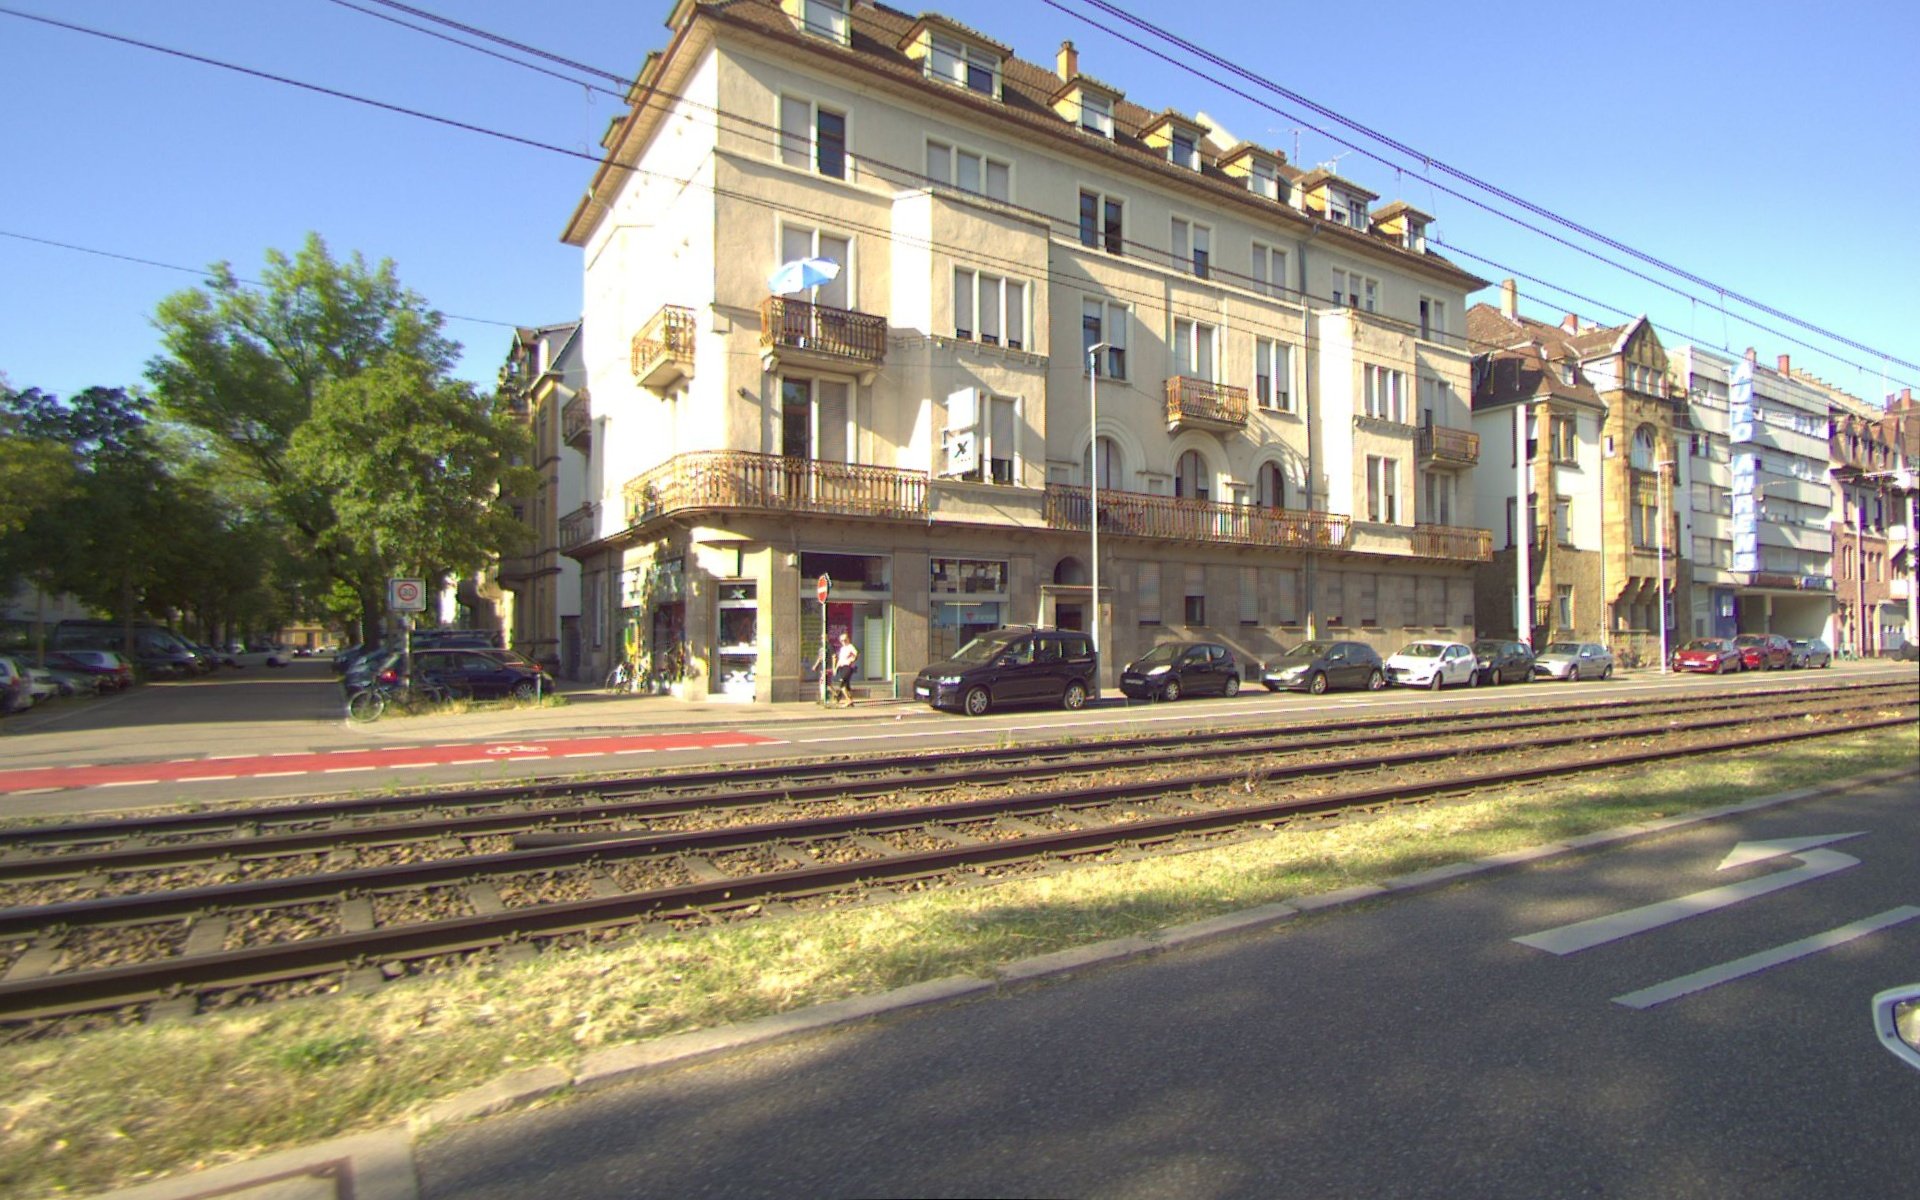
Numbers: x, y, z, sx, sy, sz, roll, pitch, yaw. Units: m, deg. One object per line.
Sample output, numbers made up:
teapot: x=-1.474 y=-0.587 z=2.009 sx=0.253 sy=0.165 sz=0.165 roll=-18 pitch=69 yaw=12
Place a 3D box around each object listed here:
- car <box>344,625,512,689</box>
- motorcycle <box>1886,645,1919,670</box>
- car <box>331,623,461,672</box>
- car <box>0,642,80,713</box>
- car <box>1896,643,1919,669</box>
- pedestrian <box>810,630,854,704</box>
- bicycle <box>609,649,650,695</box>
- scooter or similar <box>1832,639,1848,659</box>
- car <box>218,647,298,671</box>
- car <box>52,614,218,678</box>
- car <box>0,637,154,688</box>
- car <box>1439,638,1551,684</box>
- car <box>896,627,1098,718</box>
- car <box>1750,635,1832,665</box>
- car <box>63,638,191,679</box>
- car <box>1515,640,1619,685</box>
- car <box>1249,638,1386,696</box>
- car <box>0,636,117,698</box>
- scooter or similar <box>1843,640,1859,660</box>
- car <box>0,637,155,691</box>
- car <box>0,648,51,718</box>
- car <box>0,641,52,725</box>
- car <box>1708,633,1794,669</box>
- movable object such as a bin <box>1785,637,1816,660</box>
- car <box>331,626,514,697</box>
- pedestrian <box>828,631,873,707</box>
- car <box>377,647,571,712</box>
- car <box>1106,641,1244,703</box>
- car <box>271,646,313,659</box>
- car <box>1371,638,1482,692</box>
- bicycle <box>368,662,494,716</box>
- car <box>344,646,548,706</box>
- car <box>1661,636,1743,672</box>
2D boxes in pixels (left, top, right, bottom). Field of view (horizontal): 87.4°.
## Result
car: x=-18.225 y=1.986 z=34.478 sx=4.848 sy=2.067 sz=2.045 roll=3 pitch=-4 yaw=-35
motorcycle: x=56.759 y=3.446 z=60.017 sx=2.045 sy=1.345 sz=0.836 roll=2 pitch=1 yaw=43
car: x=-25.191 y=2.167 z=44.941 sx=4.848 sy=2.067 sz=2.045 roll=3 pitch=-4 yaw=-35
car: x=-24.098 y=1.854 z=24.274 sx=3.958 sy=1.679 sz=1.784 roll=3 pitch=-4 yaw=-33
car: x=59.307 y=3.446 z=61.625 sx=4.222 sy=1.479 sz=1.783 roll=1 pitch=1 yaw=-34
pedestrian: x=-3.053 y=1.588 z=23.905 sx=0.848 sy=1.719 sz=0.586 roll=2 pitch=-1 yaw=-31
bicycle: x=-9.087 y=1.938 z=27.545 sx=0.742 sy=1.176 sz=2.873 roll=1 pitch=-3 yaw=-25
scooter or similar: x=54.483 y=3.054 z=62.202 sx=1.187 sy=1.221 sz=0.389 roll=1 pitch=0 yaw=-32
car: x=-46.604 y=3.955 z=66.765 sx=3.939 sy=1.530 sz=1.793 roll=2 pitch=-4 yaw=-20
car: x=-37.030 y=2.132 z=45.344 sx=5.545 sy=2.719 sz=2.256 roll=3 pitch=-4 yaw=-36
car: x=-30.747 y=2.171 z=34.942 sx=3.958 sy=1.679 sz=1.784 roll=3 pitch=-4 yaw=-33
car: x=18.286 y=2.058 z=34.302 sx=4.115 sy=1.488 sz=1.626 roll=2 pitch=-2 yaw=-34
car: x=0.887 y=1.559 z=22.868 sx=4.355 sy=1.810 sz=1.851 roll=1 pitch=0 yaw=-34
car: x=40.854 y=2.435 z=49.344 sx=4.632 sy=1.409 sz=1.823 roll=1 pitch=-2 yaw=-34
car: x=-35.613 y=2.541 z=43.068 sx=3.958 sy=1.679 sz=1.784 roll=3 pitch=-4 yaw=-33
car: x=22.439 y=2.258 z=37.096 sx=4.113 sy=1.488 sz=1.626 roll=1 pitch=-1 yaw=-33
car: x=10.484 y=1.912 z=29.396 sx=4.115 sy=1.488 sz=1.625 roll=1 pitch=1 yaw=-34
car: x=-26.431 y=1.883 z=28.201 sx=3.958 sy=1.679 sz=1.784 roll=3 pitch=-4 yaw=-33
scooter or similar: x=54.717 y=3.060 z=61.685 sx=1.187 sy=1.221 sz=0.389 roll=1 pitch=0 yaw=-32
car: x=-29.184 y=2.121 z=33.047 sx=3.958 sy=1.679 sz=1.784 roll=3 pitch=-4 yaw=-33
car: x=-22.769 y=1.802 z=21.981 sx=3.958 sy=1.530 sz=1.784 roll=3 pitch=-4 yaw=-33
car: x=-20.971 y=1.630 z=19.827 sx=4.217 sy=1.662 sz=1.784 roll=3 pitch=-4 yaw=-33
car: x=36.622 y=2.345 z=46.488 sx=4.305 sy=1.579 sz=1.823 roll=2 pitch=-1 yaw=-32
movable object such as a bin: x=52.368 y=3.021 z=62.587 sx=0.630 sy=1.389 sz=1.400 roll=1 pitch=-2 yaw=-38
car: x=-16.906 y=1.957 z=31.690 sx=4.848 sy=2.067 sz=2.045 roll=3 pitch=-4 yaw=-35
pedestrian: x=-2.543 y=1.587 z=23.274 sx=0.848 sy=1.719 sz=0.586 roll=2 pitch=-1 yaw=-31
car: x=-12.406 y=1.977 z=25.759 sx=4.207 sy=1.483 sz=1.759 roll=2 pitch=-1 yaw=-38
car: x=5.687 y=1.857 z=26.481 sx=3.472 sy=1.410 sz=1.617 roll=1 pitch=1 yaw=-34
car: x=-81.352 y=6.409 z=122.353 sx=3.939 sy=1.530 sz=1.793 roll=2 pitch=-4 yaw=-20
car: x=14.724 y=1.984 z=31.615 sx=3.950 sy=1.488 sz=1.621 roll=1 pitch=0 yaw=-40
bicycle: x=-11.429 y=1.906 z=21.739 sx=2.384 sy=1.029 sz=0.680 roll=1 pitch=0 yaw=-31
car: x=-14.213 y=2.096 z=27.890 sx=4.845 sy=1.530 sz=2.047 roll=3 pitch=-4 yaw=-33
car: x=32.220 y=2.300 z=43.581 sx=3.999 sy=1.410 sz=1.819 roll=2 pitch=0 yaw=-38
